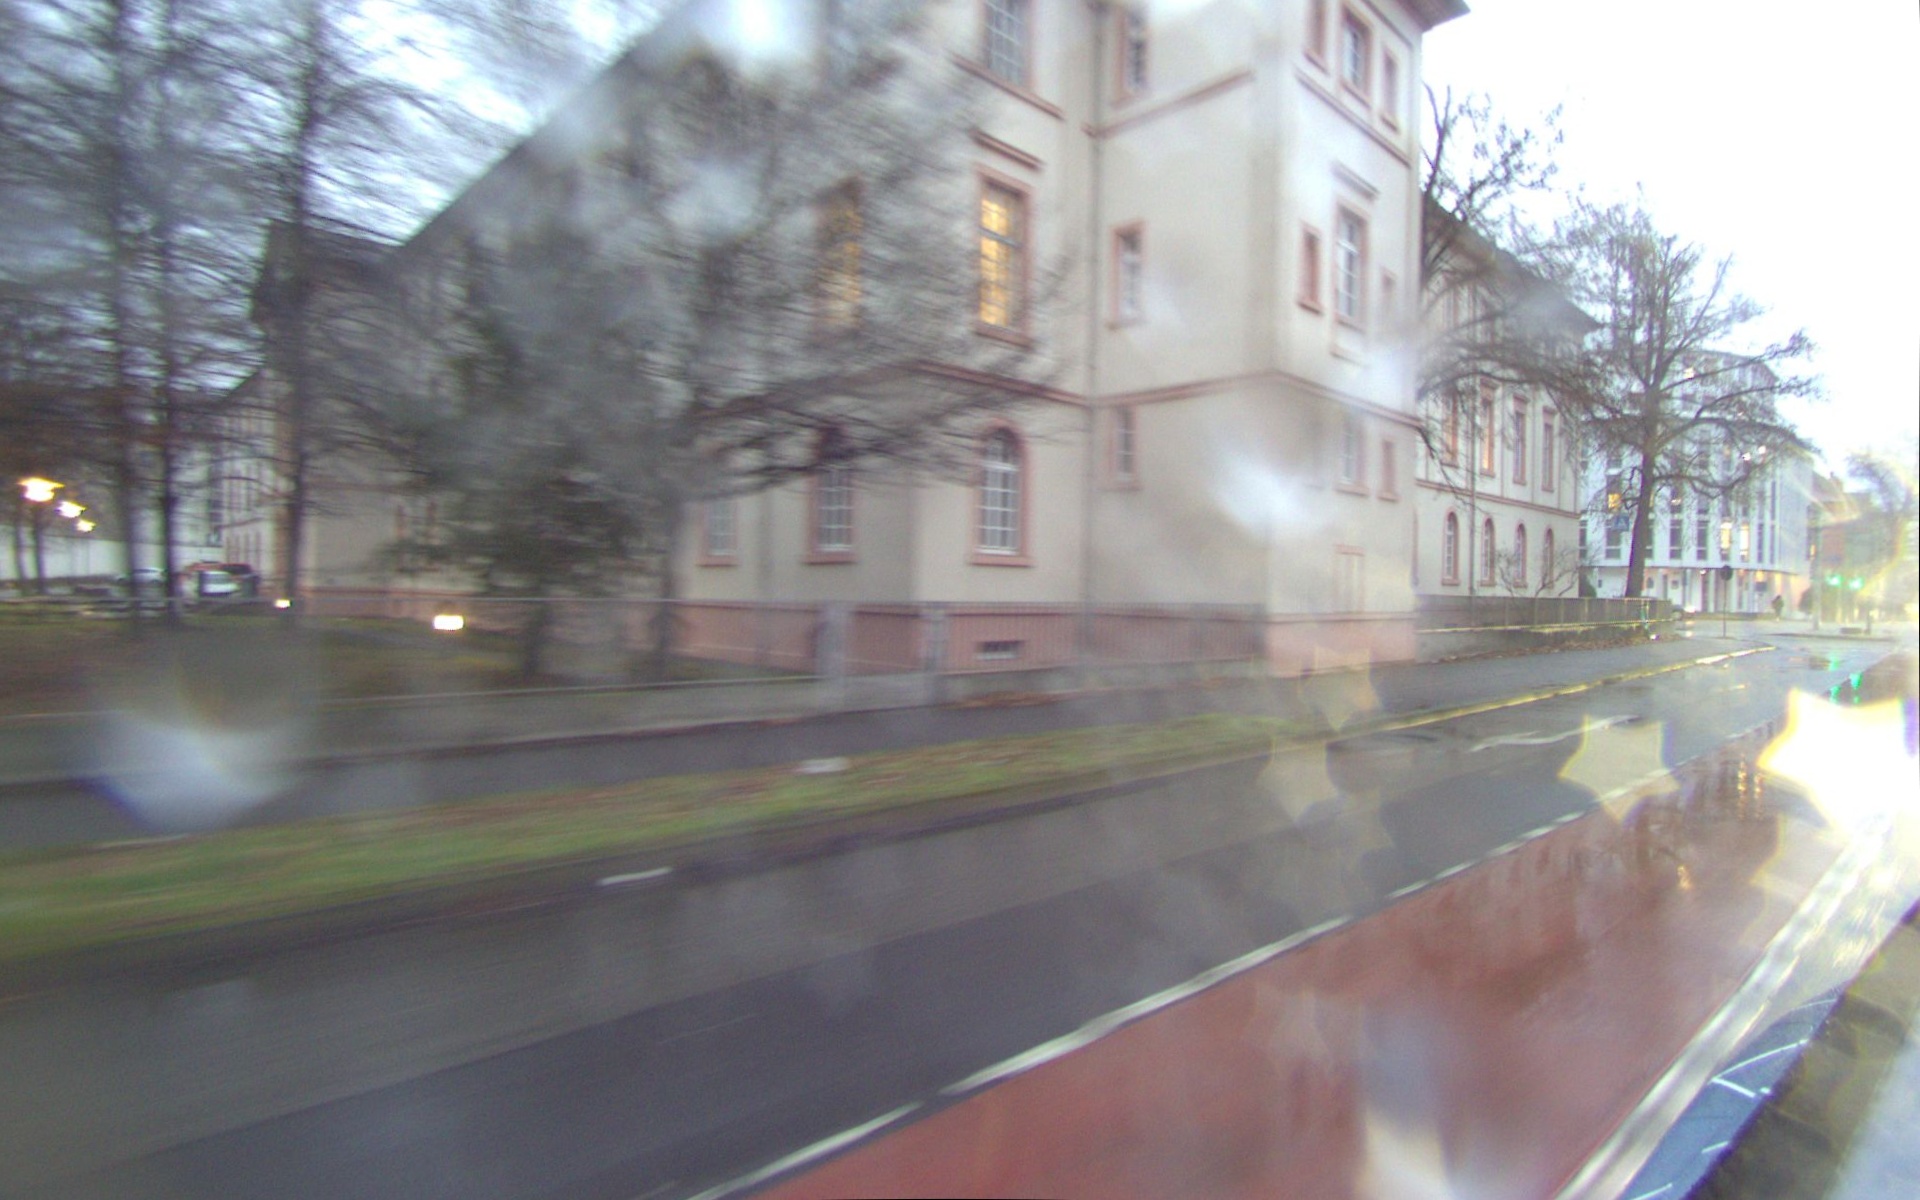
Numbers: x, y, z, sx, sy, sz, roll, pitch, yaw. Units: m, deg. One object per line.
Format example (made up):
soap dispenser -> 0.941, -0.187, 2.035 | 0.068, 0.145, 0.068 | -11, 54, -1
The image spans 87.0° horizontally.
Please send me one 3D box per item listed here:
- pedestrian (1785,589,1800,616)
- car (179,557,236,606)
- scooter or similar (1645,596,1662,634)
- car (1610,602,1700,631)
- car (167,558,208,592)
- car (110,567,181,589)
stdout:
pedestrian -> 49.940, 0.173, 60.700 | 0.652, 1.609, 0.555 | 0, -1, 37
car -> -31.782, -0.739, 42.798 | 1.828, 1.943, 4.097 | 0, 0, -36
scooter or similar -> 22.480, 0.485, 32.800 | 0.439, 1.219, 1.067 | 0, -1, 37
car -> 43.106, 1.001, 62.816 | 4.542, 1.740, 1.703 | 0, 0, 38
car -> -46.477, -1.451, 60.954 | 1.828, 1.943, 4.097 | 0, 0, -36
car -> -64.009, -1.701, 79.561 | 4.014, 1.663, 1.734 | -1, 0, -9
